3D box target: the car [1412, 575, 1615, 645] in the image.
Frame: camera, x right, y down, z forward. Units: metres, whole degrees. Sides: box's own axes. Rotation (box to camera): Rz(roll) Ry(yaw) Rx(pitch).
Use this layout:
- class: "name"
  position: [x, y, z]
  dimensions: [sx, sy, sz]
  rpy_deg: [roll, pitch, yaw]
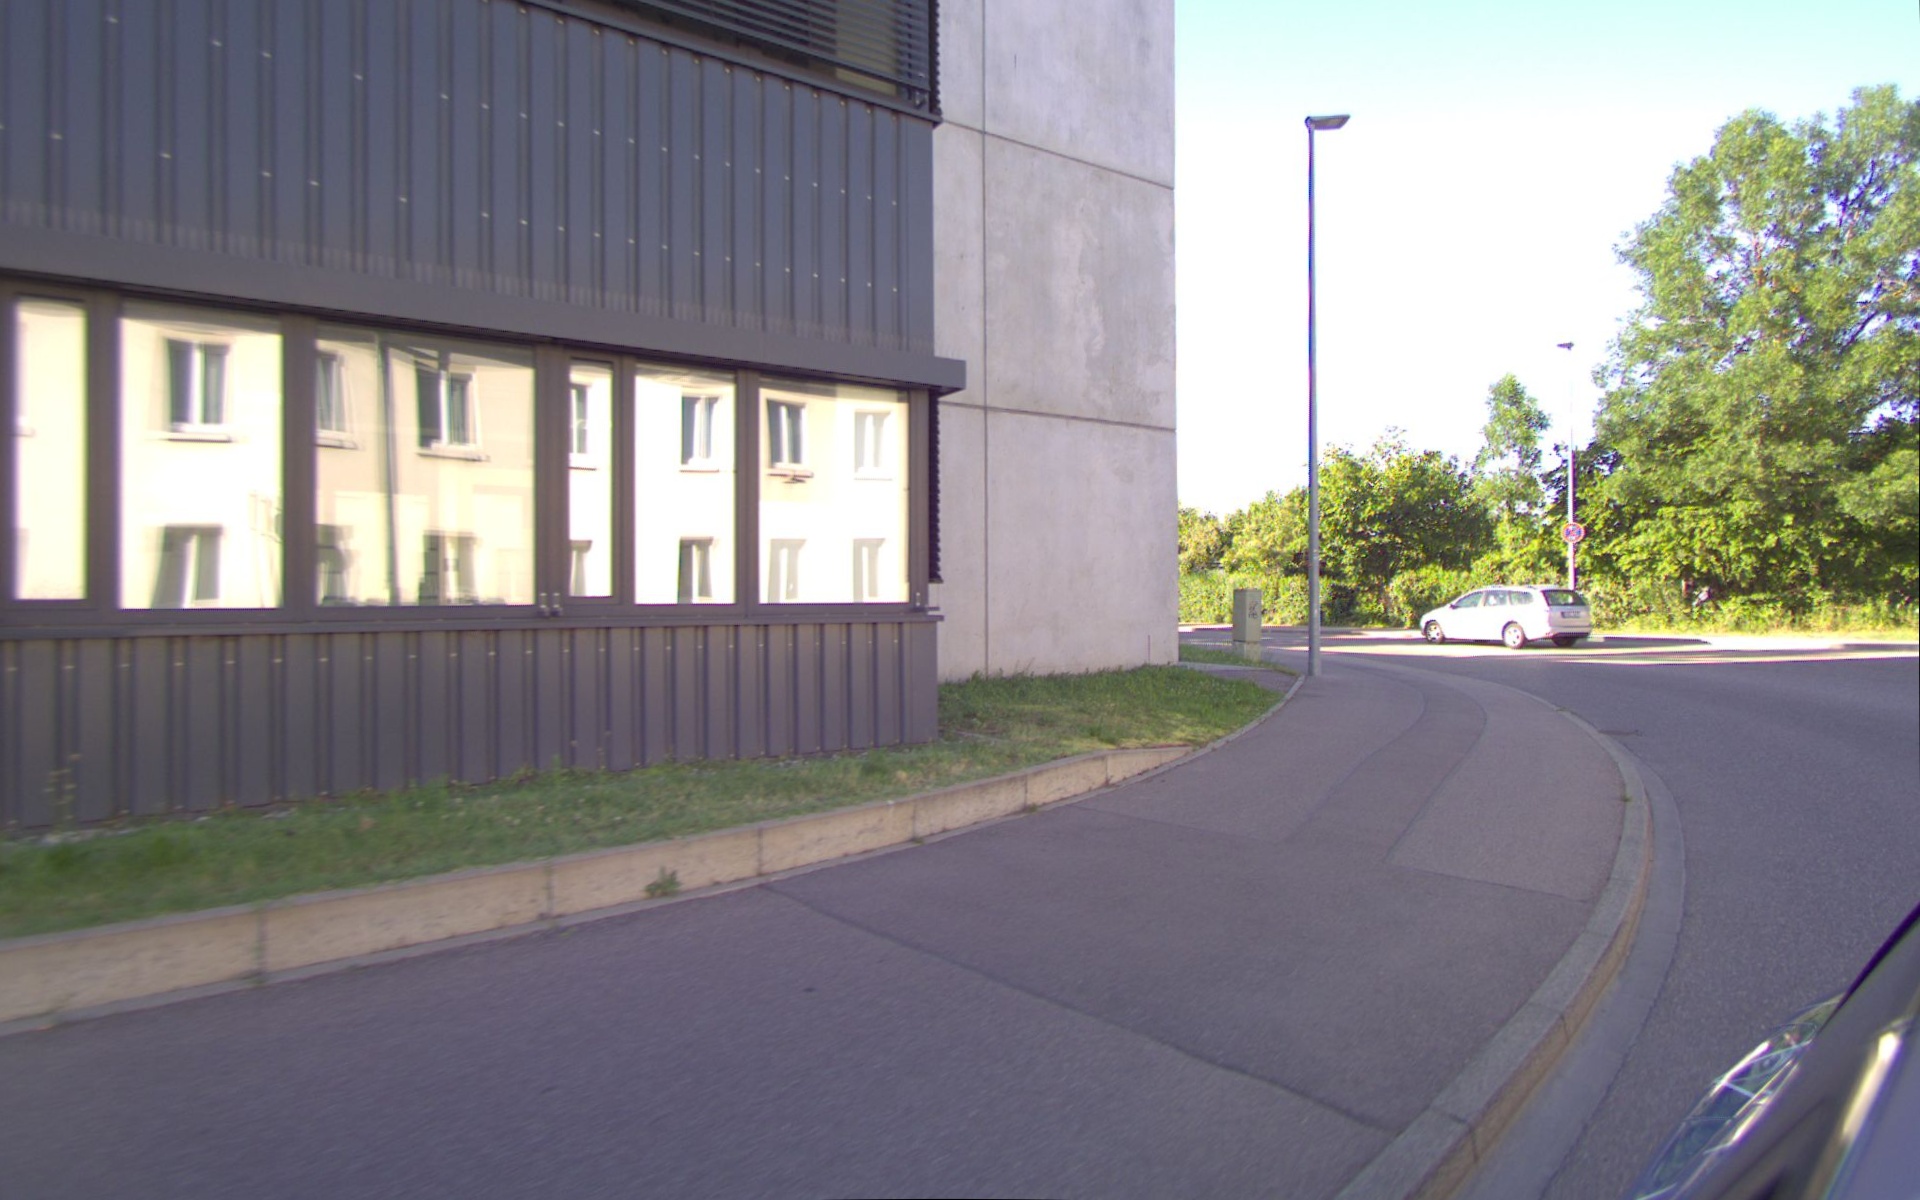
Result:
- class: "car"
  position: [13.770, 0.220, 25.530]
  dimensions: [1.708, 1.524, 4.511]
  rpy_deg: [-3, 1, -18]
